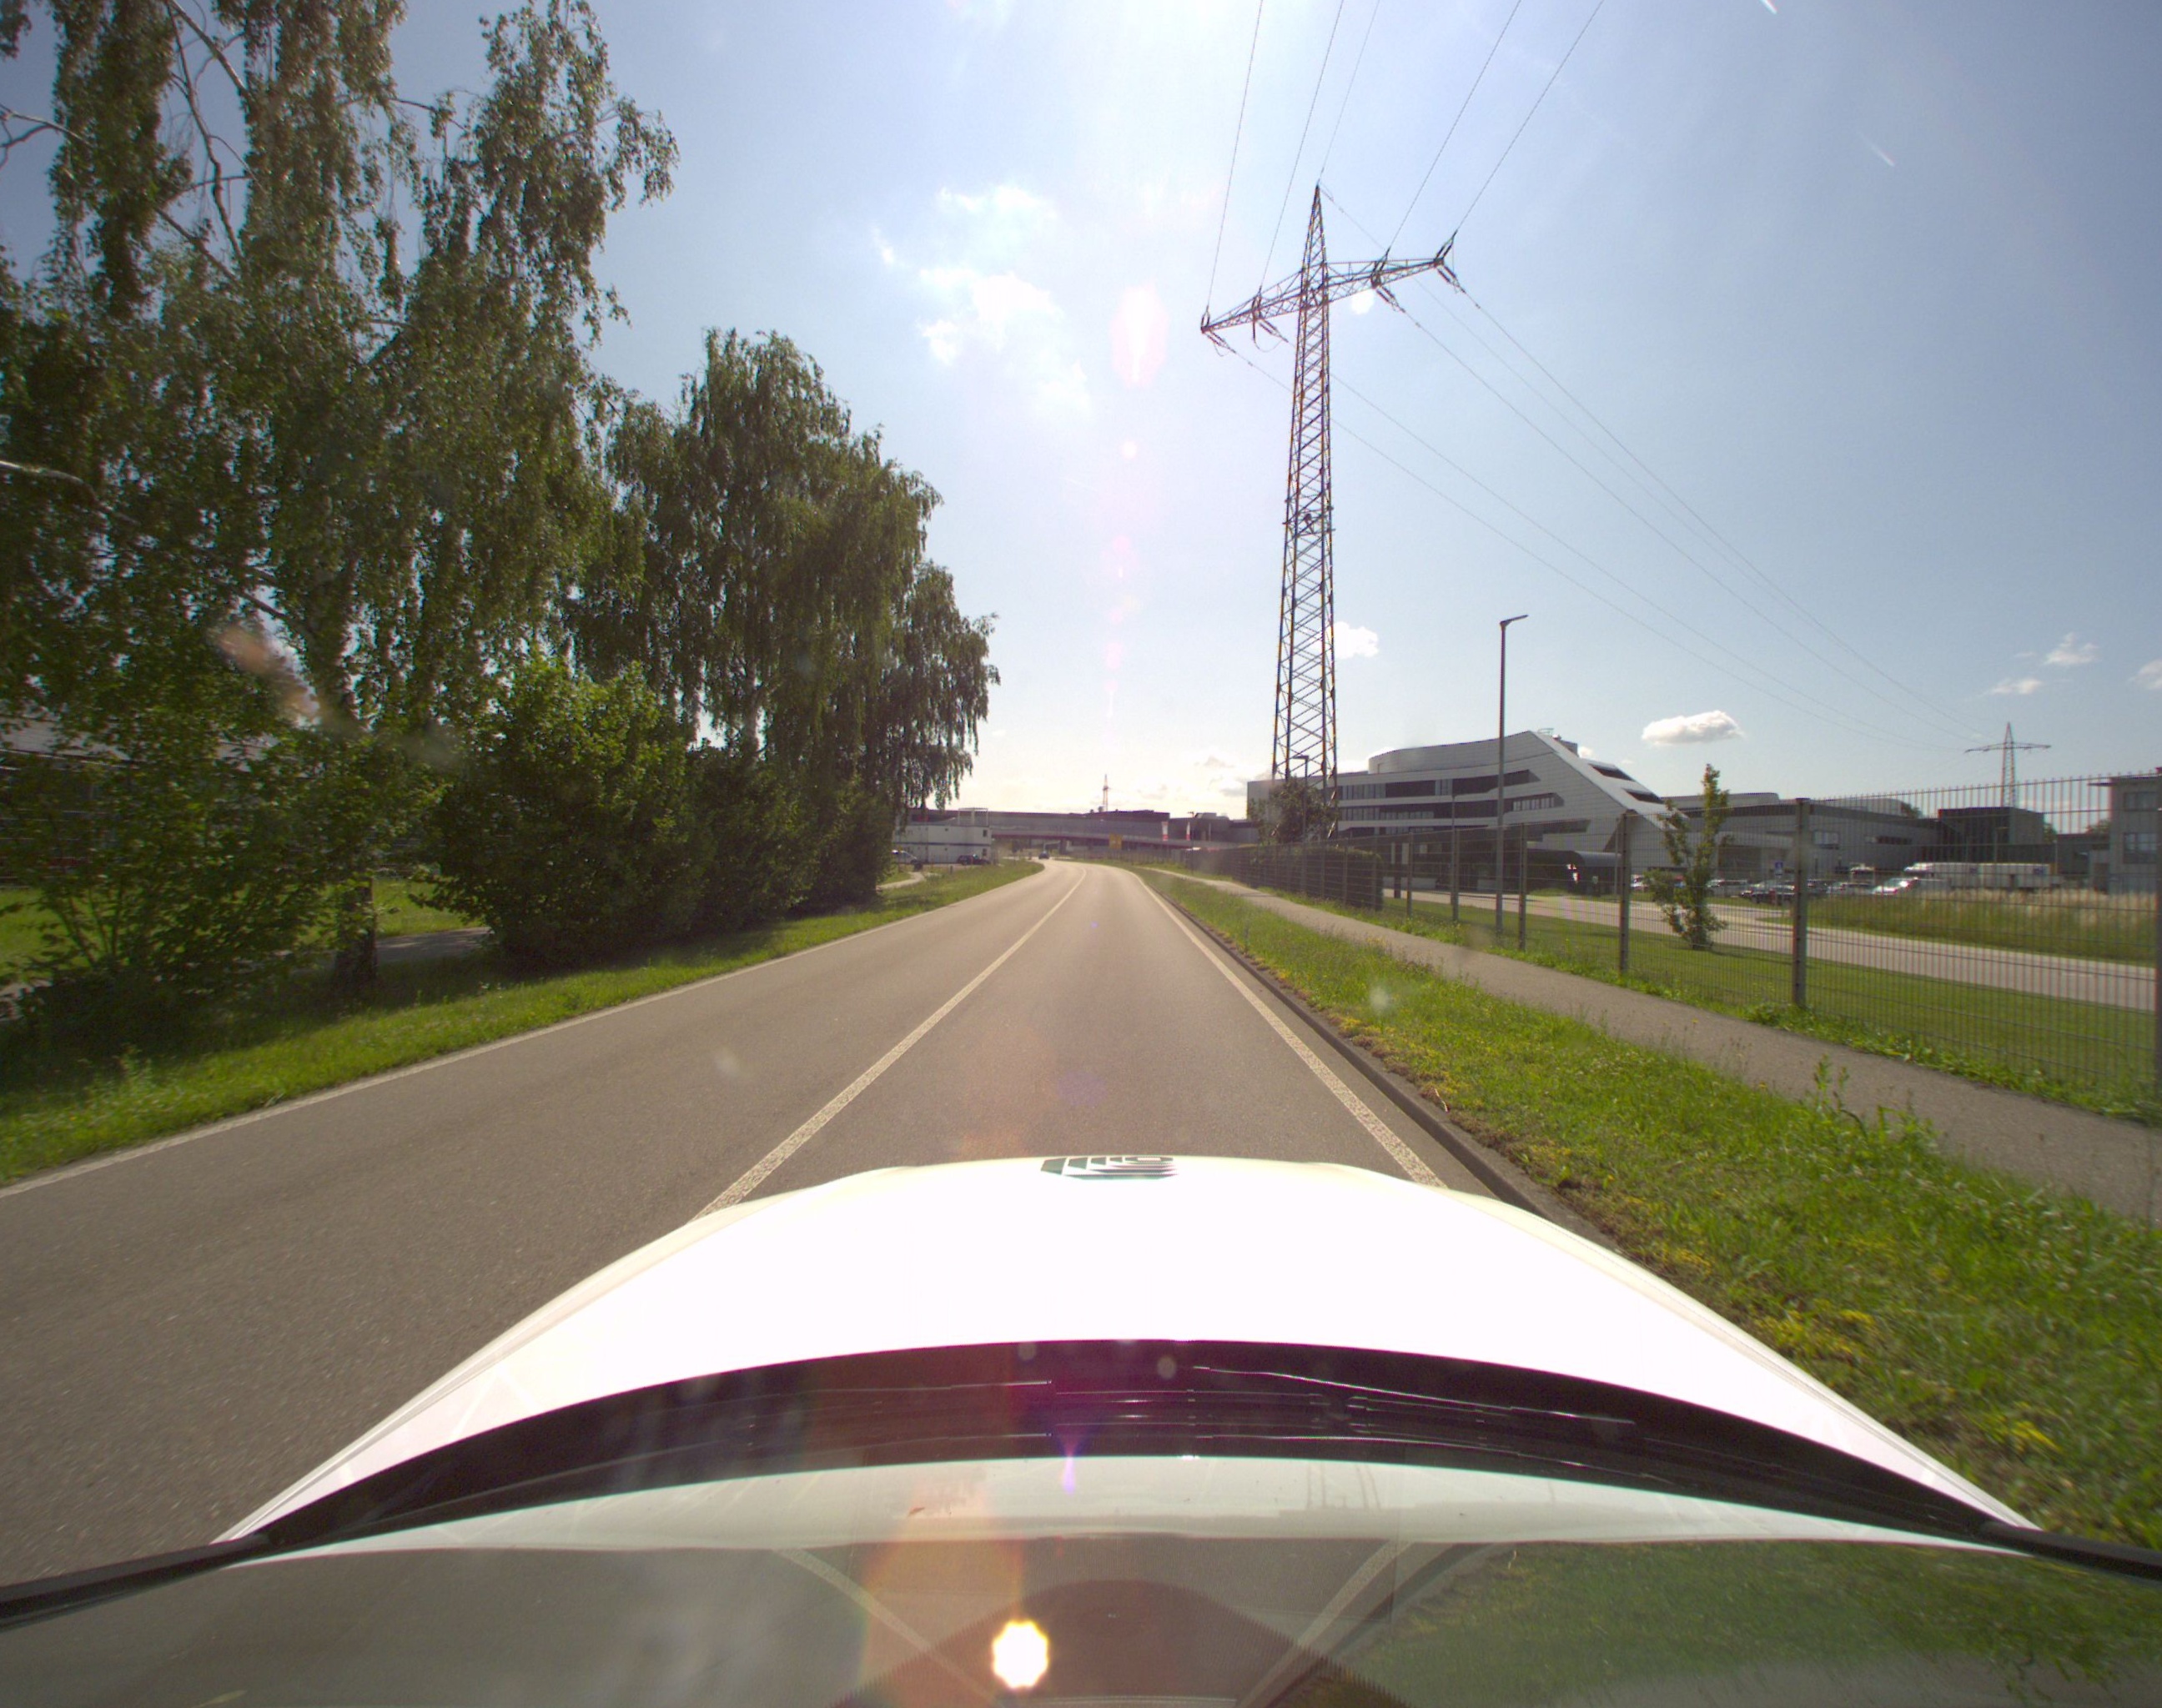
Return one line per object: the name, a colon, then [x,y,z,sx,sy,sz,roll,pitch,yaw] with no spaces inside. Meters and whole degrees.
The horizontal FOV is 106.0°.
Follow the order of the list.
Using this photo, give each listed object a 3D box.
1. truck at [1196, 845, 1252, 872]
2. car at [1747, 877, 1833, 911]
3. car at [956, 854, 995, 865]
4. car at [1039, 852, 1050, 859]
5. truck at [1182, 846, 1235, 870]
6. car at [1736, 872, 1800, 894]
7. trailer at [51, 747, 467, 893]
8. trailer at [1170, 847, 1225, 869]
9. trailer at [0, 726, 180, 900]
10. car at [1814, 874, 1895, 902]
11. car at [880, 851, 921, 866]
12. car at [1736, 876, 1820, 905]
truck: [24.200,0.760,137.500,11.032,4.256,2.993,0,-1,-41]
car: [49.409,2.752,56.915,1.986,2.013,4.756,2,0,2]
car: [-14.420,0.762,110.835,4.982,1.417,1.988,1,0,-18]
car: [-7.360,0.337,166.306,1.986,1.544,4.001,0,0,1]
truck: [23.038,0.779,146.561,11.031,4.172,2.789,0,-1,-41]
car: [68.356,2.875,81.081,4.721,2.013,2.000,2,0,1]
trailer: [-23.809,-0.815,24.668,3.384,3.645,8.668,0,0,4]
trailer: [24.324,0.825,169.200,14.138,4.438,2.733,0,-1,-42]
trailer: [-24.648,-0.888,12.911,3.275,3.645,14.941,0,0,4]
car: [63.773,2.796,67.215,4.721,2.013,2.000,2,0,1]
car: [-24.181,0.564,109.096,5.044,1.866,1.978,2,0,-38]
car: [53.425,2.782,62.497,4.721,2.013,2.000,2,0,1]
